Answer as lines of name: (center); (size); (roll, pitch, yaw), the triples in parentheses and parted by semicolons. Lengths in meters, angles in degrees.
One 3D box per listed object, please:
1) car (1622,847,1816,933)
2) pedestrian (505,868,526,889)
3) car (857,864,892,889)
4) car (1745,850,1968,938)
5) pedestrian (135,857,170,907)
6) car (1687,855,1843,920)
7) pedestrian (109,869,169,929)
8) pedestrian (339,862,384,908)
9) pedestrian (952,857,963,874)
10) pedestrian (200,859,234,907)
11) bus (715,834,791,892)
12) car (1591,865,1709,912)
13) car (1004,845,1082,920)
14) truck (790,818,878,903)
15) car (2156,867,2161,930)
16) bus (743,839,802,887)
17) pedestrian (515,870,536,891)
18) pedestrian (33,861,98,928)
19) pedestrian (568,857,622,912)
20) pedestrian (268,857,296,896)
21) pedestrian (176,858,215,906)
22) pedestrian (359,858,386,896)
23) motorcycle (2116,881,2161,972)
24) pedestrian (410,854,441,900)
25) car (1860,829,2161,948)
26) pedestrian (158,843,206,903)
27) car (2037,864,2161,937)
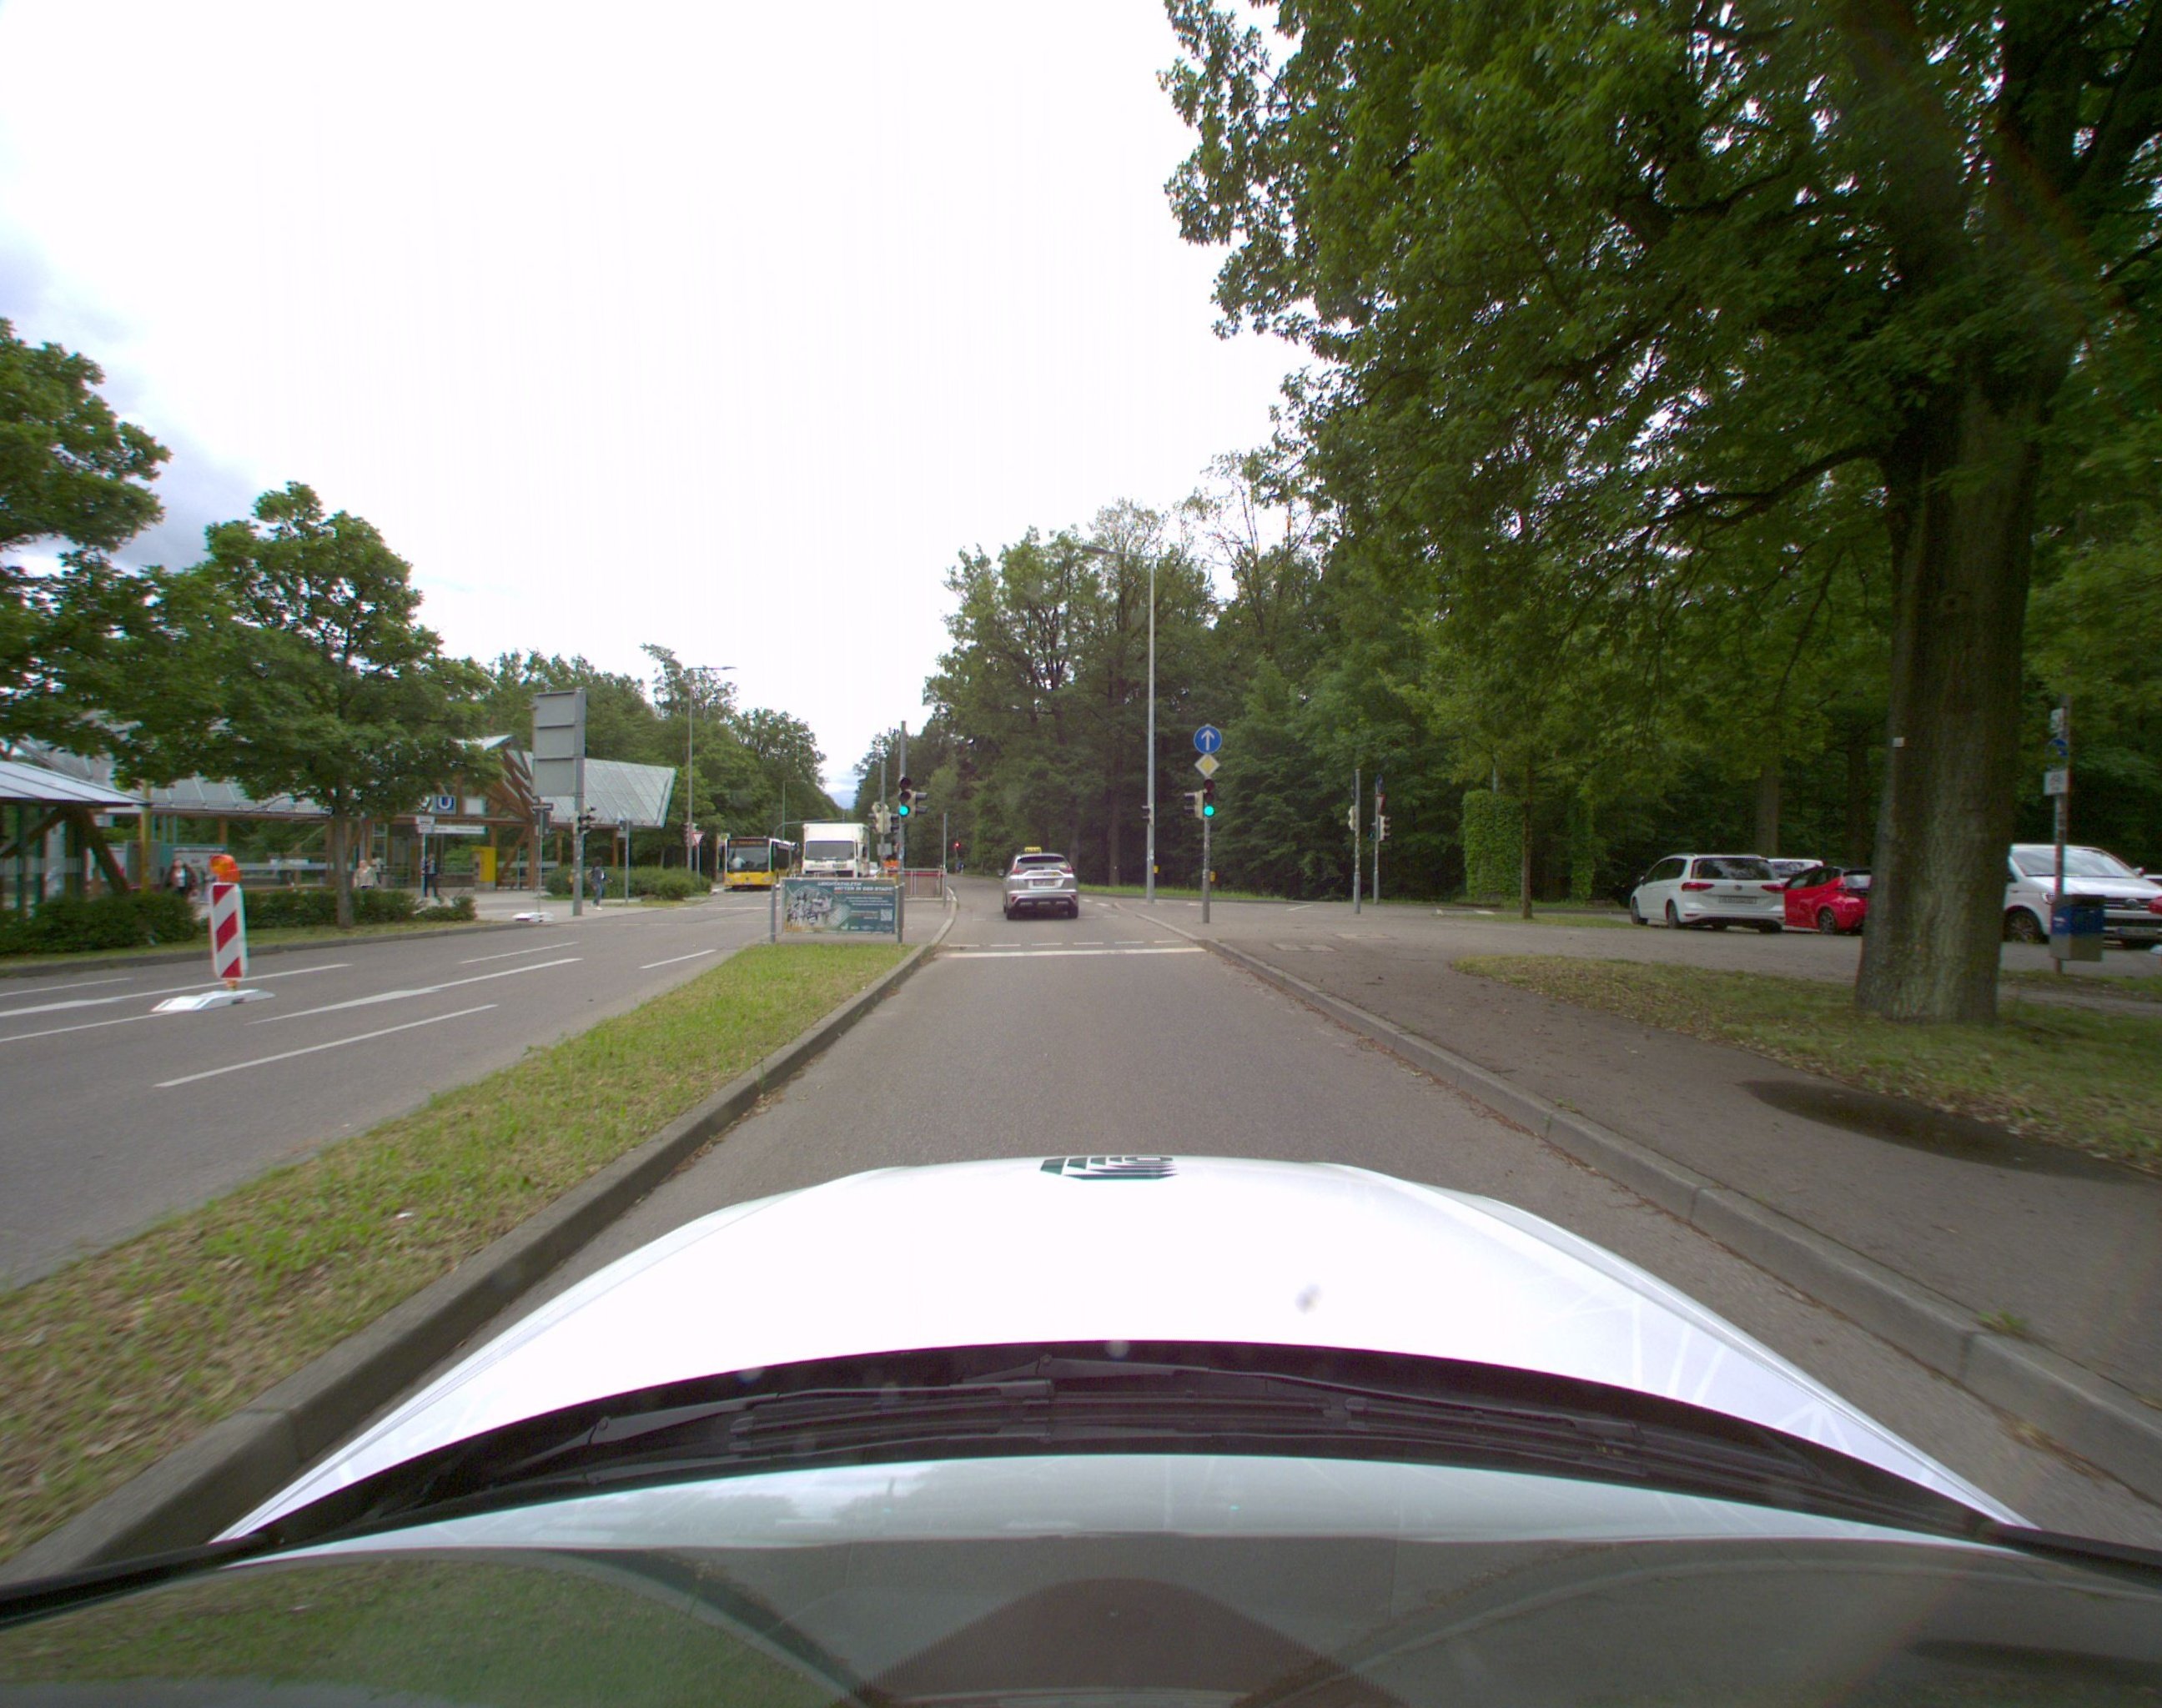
car: (13.393, 0.680, 17.457); (1.977, 1.552, 4.443); (1, 0, 20)
pedestrian: (-27.049, 1.176, 38.943); (0.545, 0.984, 0.566); (1, -1, 4)
car: (-12.993, 1.406, 51.430); (1.808, 1.509, 4.291); (-1, -1, -11)
car: (15.662, 0.740, 16.768); (1.873, 1.552, 4.020); (1, 0, 20)
pedestrian: (-31.220, 0.937, 27.387); (0.665, 1.625, 0.587); (1, -1, 27)
car: (22.231, 1.028, 26.760); (1.979, 1.878, 4.969); (1, 0, 15)
pedestrian: (-25.362, 1.189, 21.926); (0.766, 1.552, 0.796); (1, -1, 20)
pedestrian: (-24.476, 1.043, 27.722); (0.765, 1.525, 0.873); (1, -1, -8)
pedestrian: (-12.531, 1.133, 82.432); (1.048, 1.649, 1.065); (-1, 0, -11)
pedestrian: (-29.846, 0.984, 28.126); (0.665, 1.625, 0.587); (1, -1, 27)
bus: (-19.459, 0.547, 48.898); (2.903, 3.127, 9.711); (0, -1, -14)
car: (19.405, 1.137, 27.984); (1.804, 1.420, 3.858); (1, 0, 9)
car: (-1.044, 0.675, 21.300); (1.843, 1.780, 3.994); (0, 0, -4)
truck: (-10.379, 0.264, 34.821); (2.628, 3.238, 6.188); (-1, -1, -8)
car: (23.123, 0.944, 15.057); (1.800, 1.325, 4.146); (1, 0, 16)
bus: (-21.715, 0.667, 57.802); (2.903, 3.127, 8.651); (0, -1, -14)
pedestrian: (-26.982, 1.272, 39.560); (0.553, 0.984, 0.566); (1, -1, 3)
pedestrian: (-25.934, 1.020, 20.802); (0.861, 1.665, 0.688); (1, -1, 14)
pedestrian: (-15.220, 0.942, 25.524); (0.901, 1.676, 1.098); (-1, -1, 17)
pedestrian: (-32.320, 0.916, 32.938); (0.460, 1.554, 0.610); (1, -1, 12)
pedestrian: (-30.438, 0.955, 28.003); (0.669, 1.625, 0.584); (1, -1, 2)
pedestrian: (-29.716, 0.956, 34.169); (0.664, 1.596, 0.680); (1, -1, 37)
motorcycle: (15.403, 0.997, 10.936); (1.938, 1.204, 0.592); (1, -1, 12)
pedestrian: (-26.021, 0.903, 32.336); (0.768, 1.809, 0.985); (2, -1, -29)
car: (18.294, 0.675, 16.089); (2.041, 1.957, 5.204); (1, -2, 16)
pedestrian: (-23.828, 0.507, 21.588); (0.620, 1.546, 0.781); (-1, -3, 41)
car: (20.801, 0.886, 15.311); (1.703, 1.328, 3.950); (1, 0, 14)
